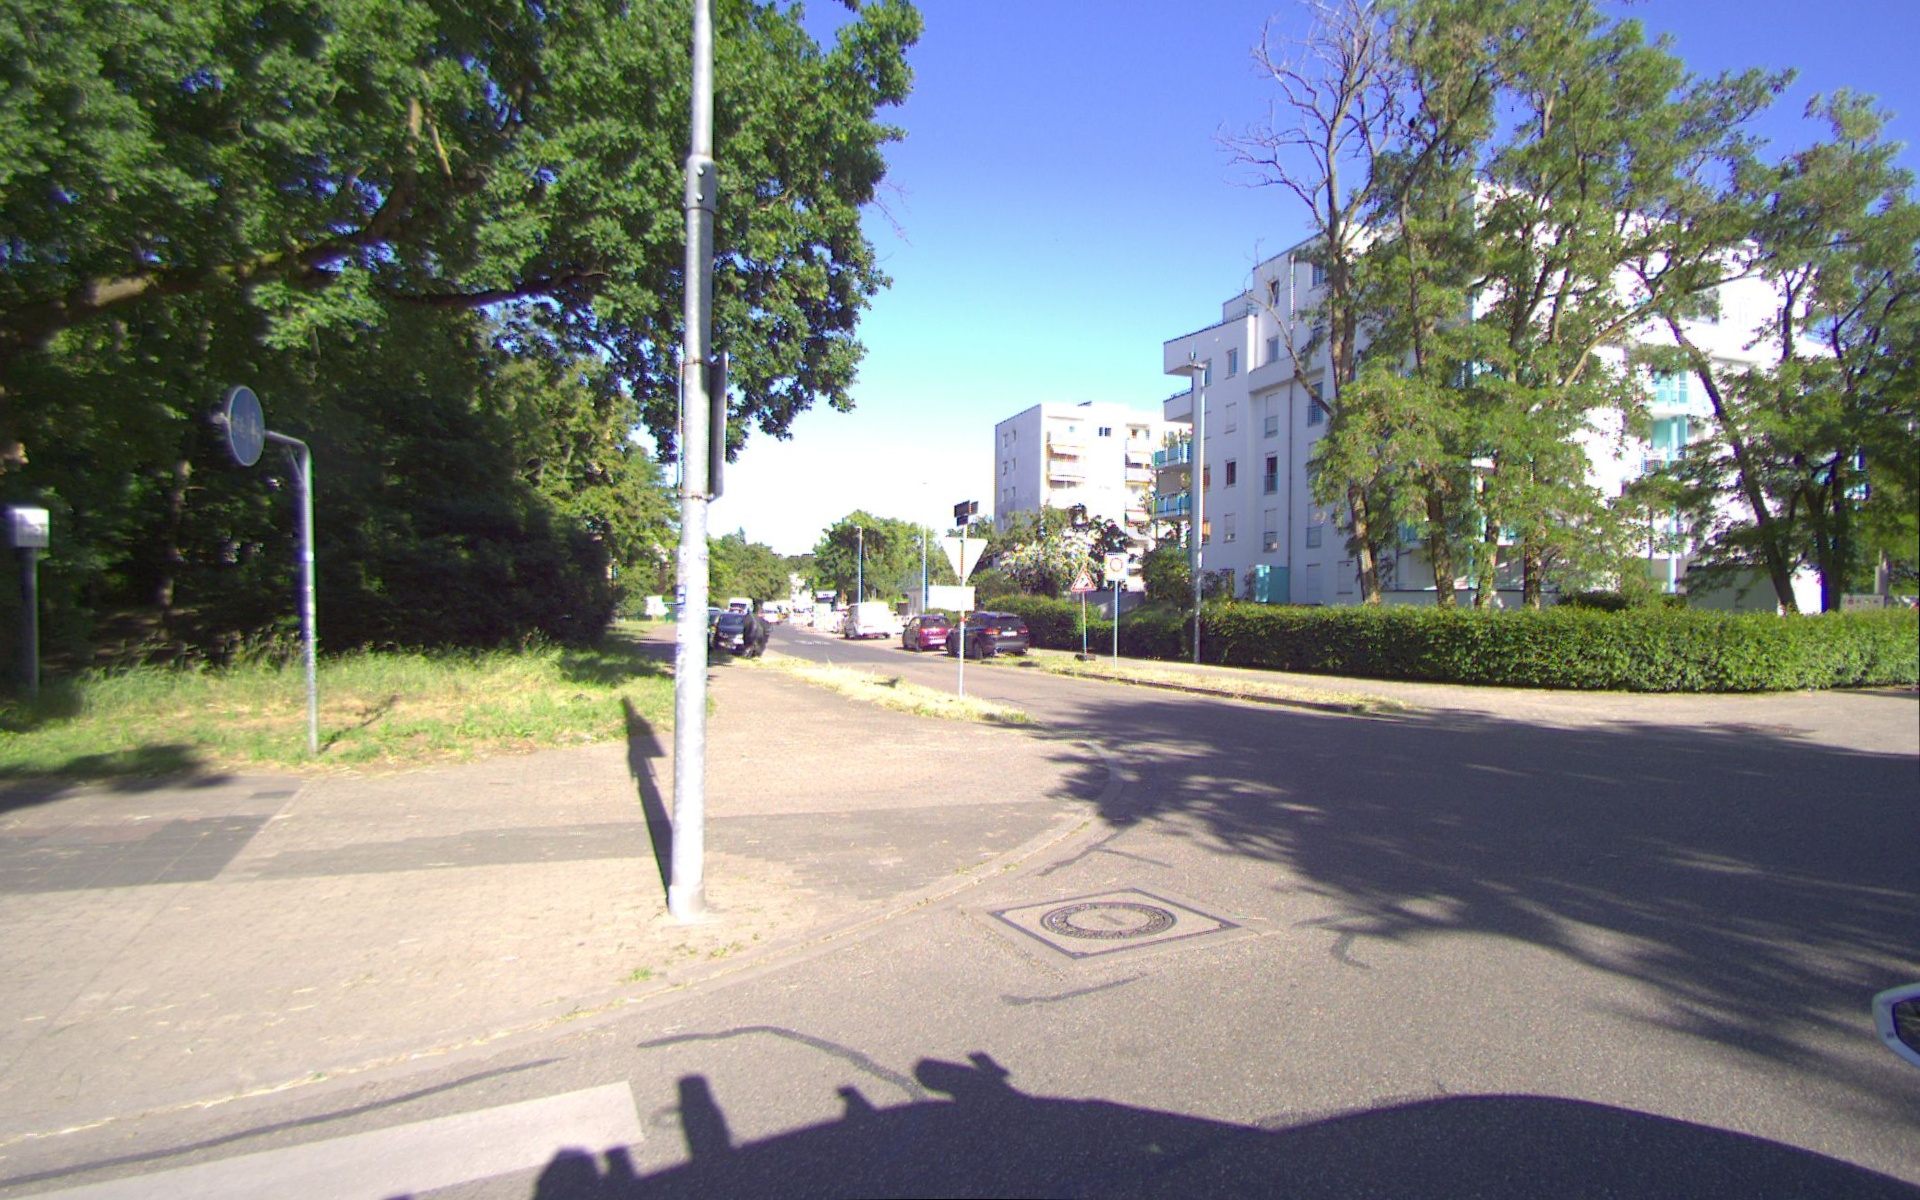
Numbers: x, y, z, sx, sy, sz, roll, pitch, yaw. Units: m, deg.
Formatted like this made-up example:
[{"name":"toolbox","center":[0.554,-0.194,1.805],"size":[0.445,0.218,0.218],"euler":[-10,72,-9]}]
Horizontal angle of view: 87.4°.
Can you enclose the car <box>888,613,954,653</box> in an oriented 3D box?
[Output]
[{"name":"car","center":[-1.658,1.342,41.767],"size":[1.613,1.531,3.817],"euler":[1,0,-21]}]

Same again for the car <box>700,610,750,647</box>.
[{"name":"car","center":[-9.686,1.134,41.313],"size":[1.536,1.410,3.571],"euler":[1,0,-21]}]

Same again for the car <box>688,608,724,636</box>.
[{"name":"car","center":[-15.163,1.293,59.909],"size":[1.621,1.578,3.817],"euler":[1,0,-21]}]

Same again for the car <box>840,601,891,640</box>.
[{"name":"car","center":[-5.227,1.105,55.135],"size":[1.801,2.088,3.817],"euler":[1,0,-21]}]

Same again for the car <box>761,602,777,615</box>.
[{"name":"car","center":[-25.031,1.138,131.898],"size":[1.859,1.662,3.994],"euler":[1,0,-9]}]

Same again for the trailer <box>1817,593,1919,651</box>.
[{"name":"trailer","center":[34.753,0.808,37.704],"size":[4.360,2.070,1.975],"euler":[1,0,-19]}]

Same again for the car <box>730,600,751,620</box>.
[{"name":"car","center":[-22.357,1.019,102.539],"size":[1.948,1.925,3.992],"euler":[1,0,-10]}]

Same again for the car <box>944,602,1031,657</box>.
[{"name":"car","center":[0.915,0.990,35.346],"size":[1.730,1.808,3.817],"euler":[1,0,-21]}]

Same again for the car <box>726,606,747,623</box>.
[{"name":"car","center":[-21.636,1.405,97.515],"size":[1.794,1.617,3.992],"euler":[1,0,-10]}]

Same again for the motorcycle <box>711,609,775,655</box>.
[{"name":"motorcycle","center":[-6.706,0.965,31.091],"size":[0.665,1.362,1.953],"euler":[1,0,38]}]

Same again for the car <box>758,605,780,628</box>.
[{"name":"car","center":[-17.801,1.552,93.659],"size":[1.898,2.040,3.992],"euler":[1,0,-11]}]

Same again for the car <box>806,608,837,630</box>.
[{"name":"car","center":[-9.715,1.317,70.326],"size":[1.497,1.486,3.059],"euler":[1,0,-20]}]

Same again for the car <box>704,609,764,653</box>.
[{"name":"car","center":[-7.916,1.044,34.978],"size":[1.536,1.410,3.571],"euler":[1,0,-21]}]

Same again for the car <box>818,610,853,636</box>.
[{"name":"car","center":[-8.013,1.431,64.346],"size":[1.511,1.578,3.648],"euler":[1,0,-20]}]
